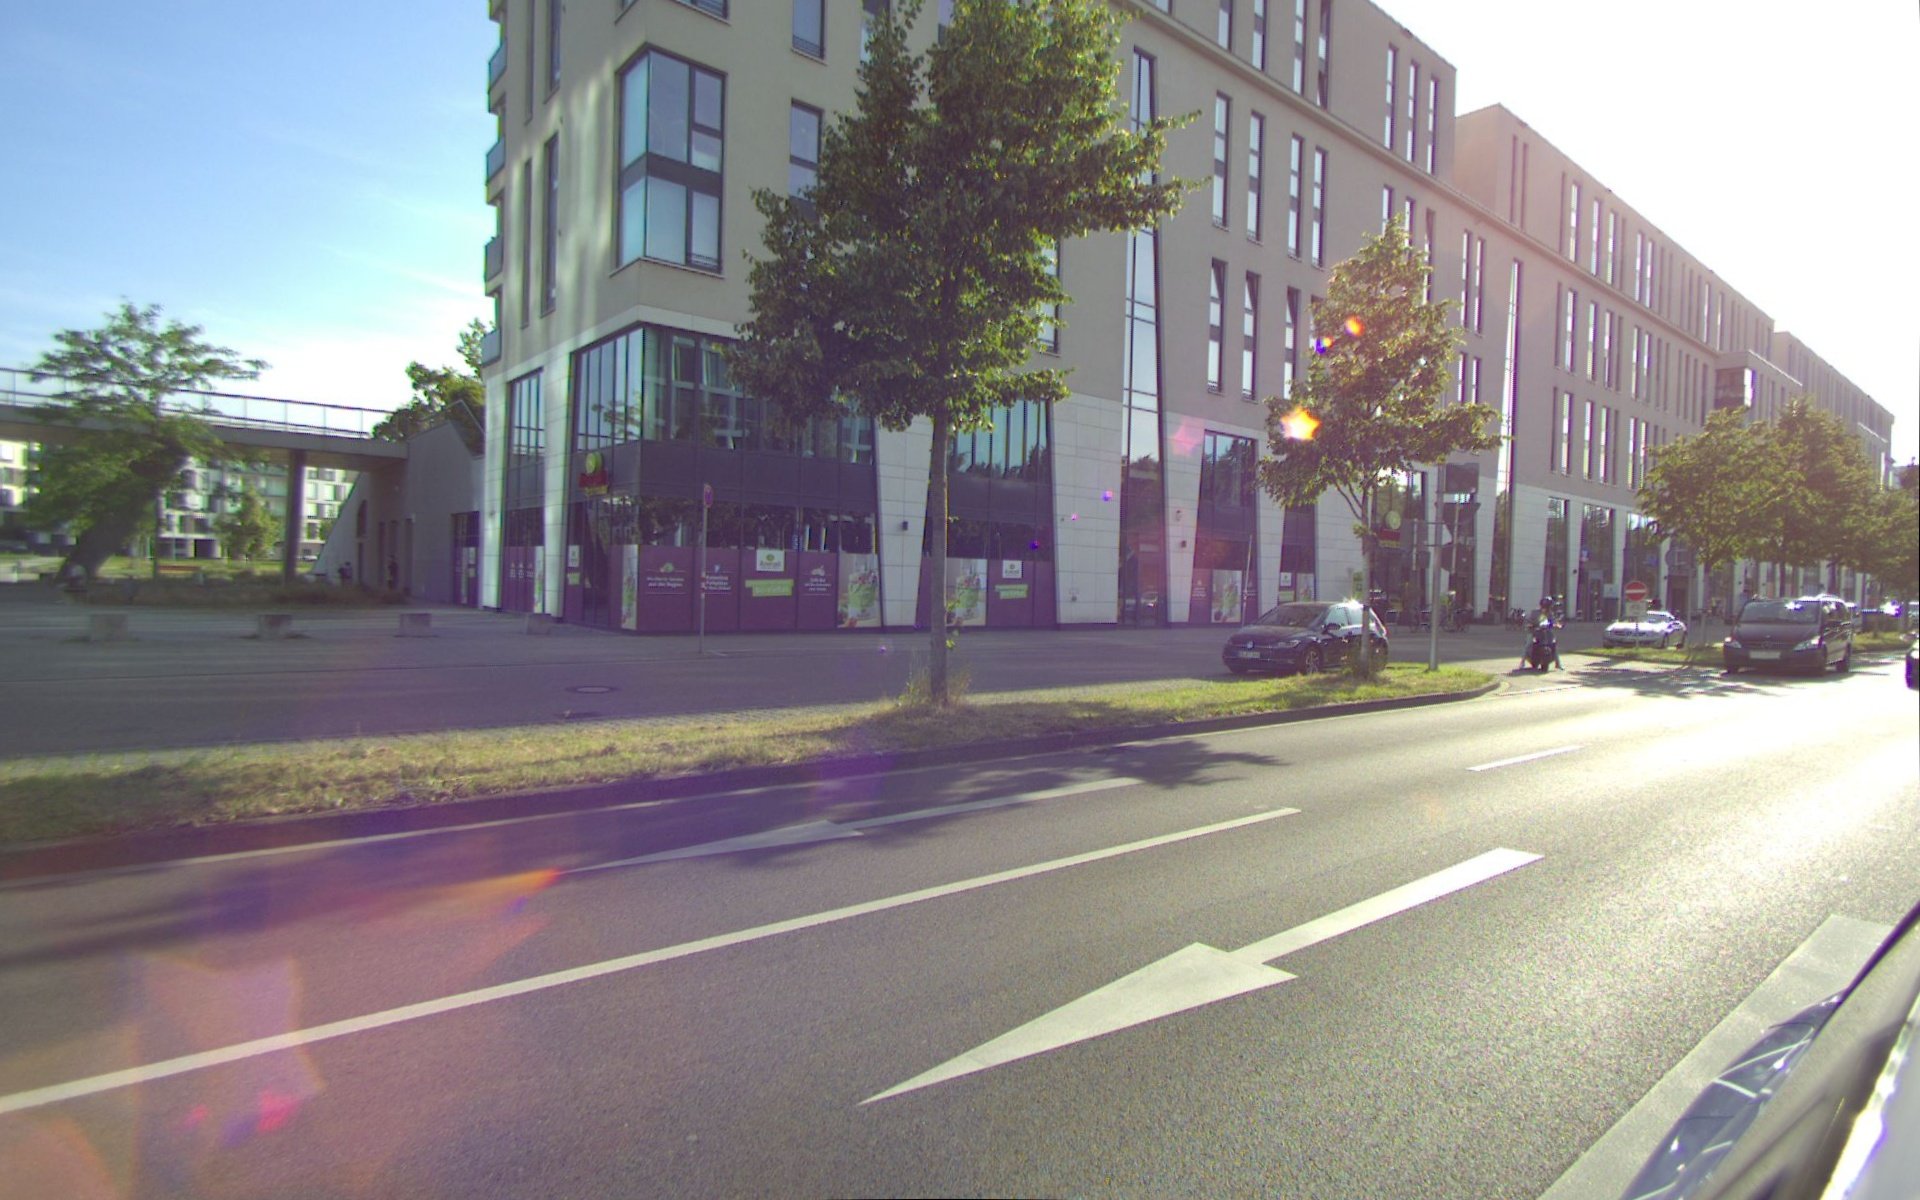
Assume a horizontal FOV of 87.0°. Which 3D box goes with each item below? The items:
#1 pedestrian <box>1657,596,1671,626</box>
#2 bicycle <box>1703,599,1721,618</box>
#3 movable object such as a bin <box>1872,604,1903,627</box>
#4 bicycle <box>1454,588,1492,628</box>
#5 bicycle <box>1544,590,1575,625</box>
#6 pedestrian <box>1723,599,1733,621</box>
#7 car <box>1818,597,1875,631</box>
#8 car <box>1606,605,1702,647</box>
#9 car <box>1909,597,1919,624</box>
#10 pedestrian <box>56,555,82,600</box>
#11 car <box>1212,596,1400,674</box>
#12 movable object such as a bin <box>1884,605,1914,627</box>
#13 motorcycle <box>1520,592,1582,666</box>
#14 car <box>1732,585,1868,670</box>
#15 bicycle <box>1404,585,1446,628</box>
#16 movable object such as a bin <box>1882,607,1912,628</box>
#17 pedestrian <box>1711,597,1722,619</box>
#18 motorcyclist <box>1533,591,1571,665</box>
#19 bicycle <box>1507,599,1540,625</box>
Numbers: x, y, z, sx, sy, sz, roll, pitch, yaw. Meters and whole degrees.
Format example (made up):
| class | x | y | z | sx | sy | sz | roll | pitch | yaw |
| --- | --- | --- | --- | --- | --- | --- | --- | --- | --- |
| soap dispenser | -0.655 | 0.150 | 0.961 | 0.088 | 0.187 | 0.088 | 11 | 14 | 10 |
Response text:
| class | x | y | z | sx | sy | sz | roll | pitch | yaw |
| --- | --- | --- | --- | --- | --- | --- | --- | --- | --- |
| pedestrian | 42.329 | 0.657 | 60.809 | 0.635 | 1.785 | 0.538 | 0 | 0 | -40 |
| bicycle | 47.092 | 0.544 | 63.366 | 1.911 | 1.130 | 0.493 | 0 | 2 | -40 |
| movable object such as a bin | 54.646 | 0.899 | 59.610 | 1.158 | 1.308 | 1.278 | 0 | 0 | -43 |
| bicycle | 20.794 | 0.301 | 40.983 | 2.173 | 1.587 | 0.556 | -1 | 0 | -39 |
| bicycle | 28.260 | 0.336 | 47.703 | 2.173 | 1.639 | 0.556 | -1 | 0 | -39 |
| pedestrian | 54.917 | 0.703 | 72.350 | 0.536 | 1.594 | 0.509 | 0 | 0 | 35 |
| car | 47.753 | 0.714 | 54.473 | 4.222 | 1.733 | 1.829 | 0 | 0 | -42 |
| car | 23.086 | 0.818 | 33.620 | 3.837 | 1.258 | 1.711 | 0 | 0 | -41 |
| car | 71.334 | 0.740 | 74.495 | 4.946 | 1.900 | 1.839 | 0 | 0 | -43 |
| pedestrian | -26.422 | -0.650 | 30.015 | 0.571 | 1.310 | 0.597 | 0 | 0 | -40 |
| car | 6.915 | 0.618 | 20.057 | 4.082 | 1.388 | 1.610 | 0 | 0 | -39 |
| movable object such as a bin | 56.950 | 0.960 | 61.373 | 1.171 | 1.252 | 1.278 | 0 | 0 | -43 |
| motorcycle | 13.748 | 0.634 | 23.520 | 1.977 | 1.638 | 0.702 | 0 | 0 | -42 |
| car | 20.730 | 0.595 | 24.903 | 4.736 | 1.915 | 1.802 | 0 | 0 | -40 |
| bicycle | 17.905 | 0.226 | 38.924 | 2.235 | 1.590 | 0.556 | -1 | 0 | -39 |
| movable object such as a bin | 55.990 | 1.030 | 60.472 | 1.171 | 1.252 | 1.278 | 0 | 0 | -43 |
| pedestrian | 54.306 | 0.593 | 72.674 | 0.587 | 1.541 | 0.514 | 0 | 0 | -40 |
| motorcyclist | 13.770 | 0.639 | 23.533 | 0.411 | 1.660 | 0.624 | 1 | 1 | -43 |
| bicycle | 25.040 | 0.539 | 44.958 | 1.870 | 1.097 | 0.635 | 0 | 2 | -39 |
